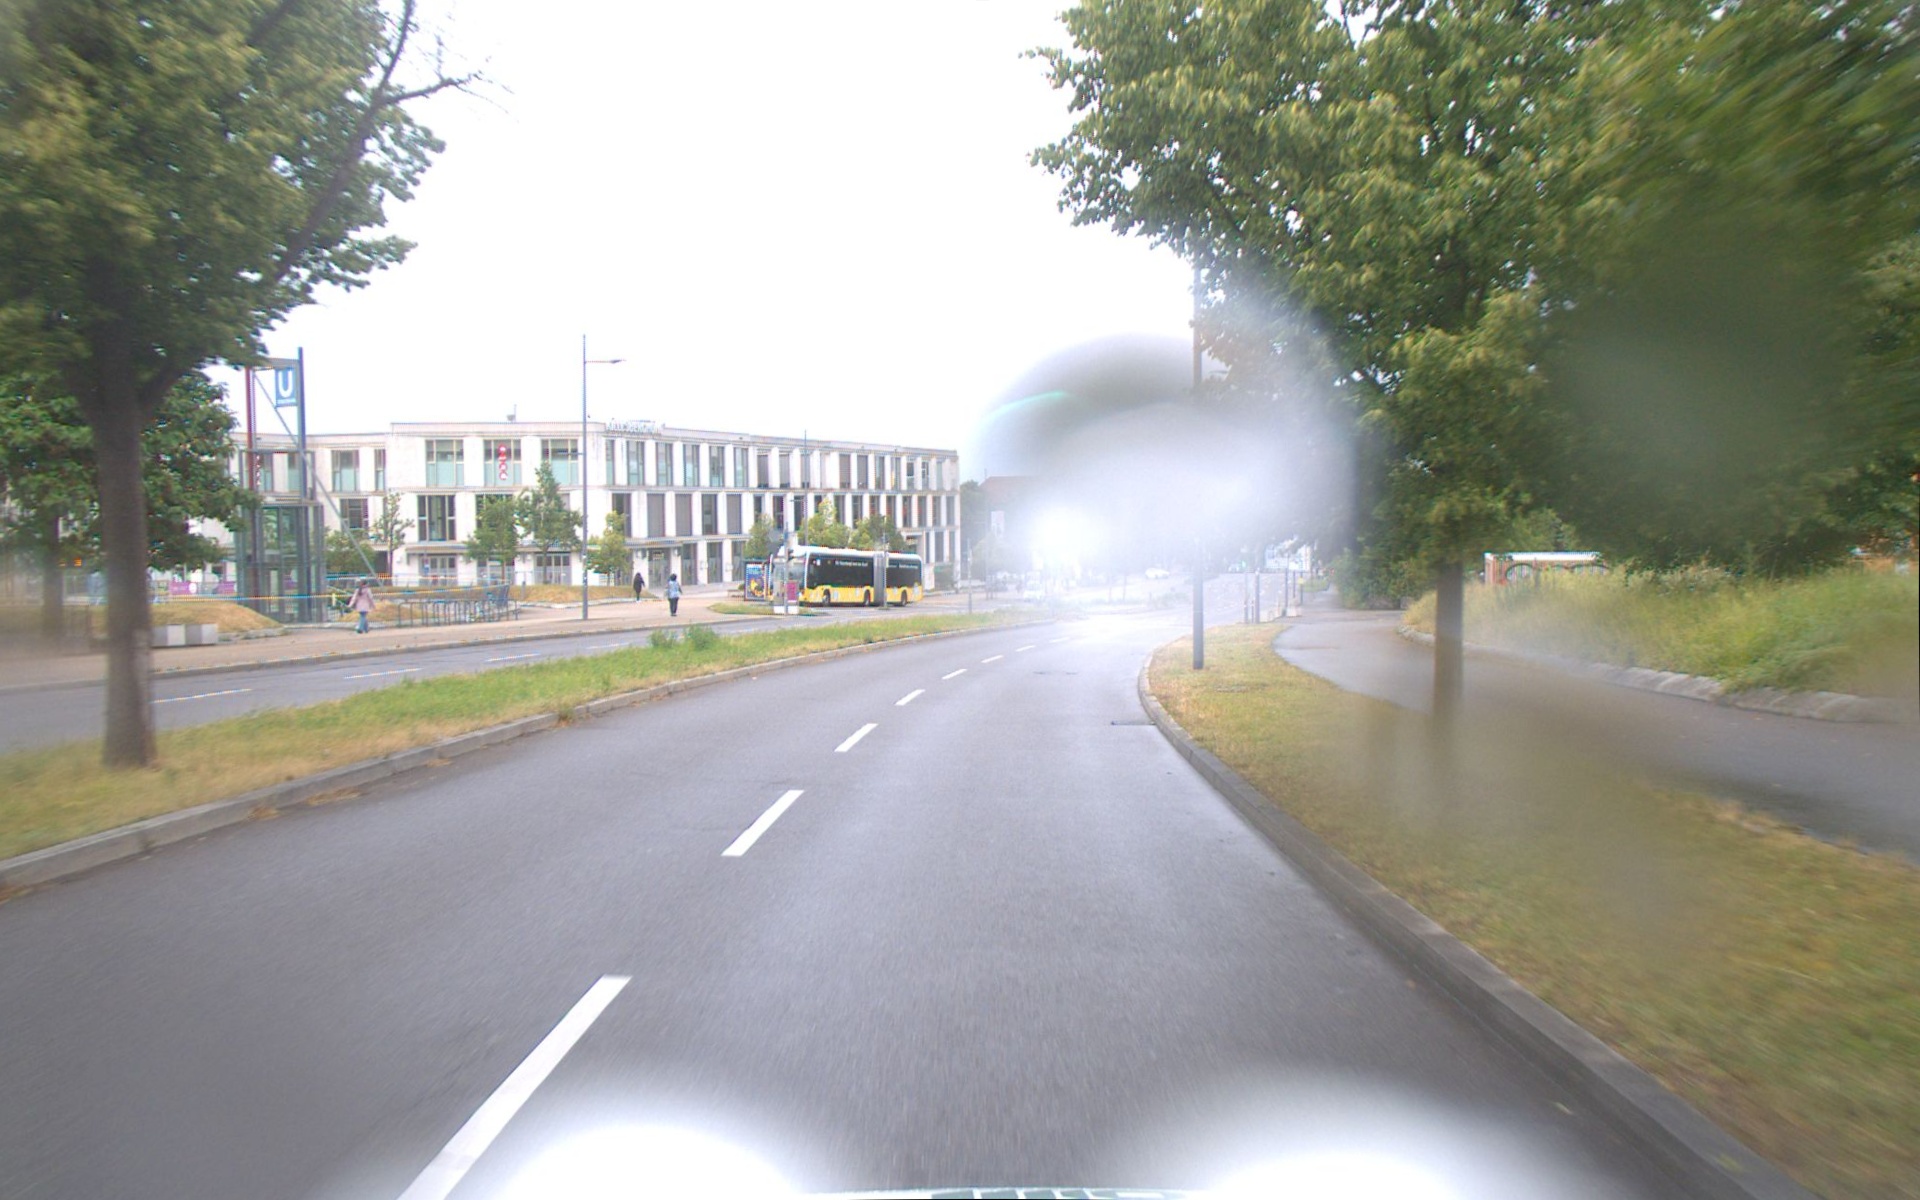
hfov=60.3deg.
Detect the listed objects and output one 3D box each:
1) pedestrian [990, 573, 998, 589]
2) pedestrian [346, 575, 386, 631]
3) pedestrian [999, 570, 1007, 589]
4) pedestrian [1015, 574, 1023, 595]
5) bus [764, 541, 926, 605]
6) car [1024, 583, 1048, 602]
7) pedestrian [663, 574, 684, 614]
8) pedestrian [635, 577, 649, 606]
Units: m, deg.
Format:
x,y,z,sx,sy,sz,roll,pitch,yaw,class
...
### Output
x,y,z,sx,sy,sz,roll,pitch,yaw,class
3.509,-1.958,169.077,0.818,1.559,0.751,0,-1,0,pedestrian
-17.616,0.085,49.084,0.796,1.649,0.936,0,-1,6,pedestrian
4.378,-2.087,168.686,0.734,1.885,0.837,0,-1,-5,pedestrian
5.648,-1.446,158.438,0.734,1.981,0.837,0,-1,-5,pedestrian
-6.679,-1.498,101.677,2.727,3.416,18.229,0,-1,20,bus
6.558,-0.635,142.332,1.447,1.520,2.531,0,-1,18,car
-11.558,-0.231,66.702,0.819,1.601,0.717,0,-1,-12,pedestrian
-17.356,-0.454,90.331,0.669,1.551,0.718,0,-1,-5,pedestrian
